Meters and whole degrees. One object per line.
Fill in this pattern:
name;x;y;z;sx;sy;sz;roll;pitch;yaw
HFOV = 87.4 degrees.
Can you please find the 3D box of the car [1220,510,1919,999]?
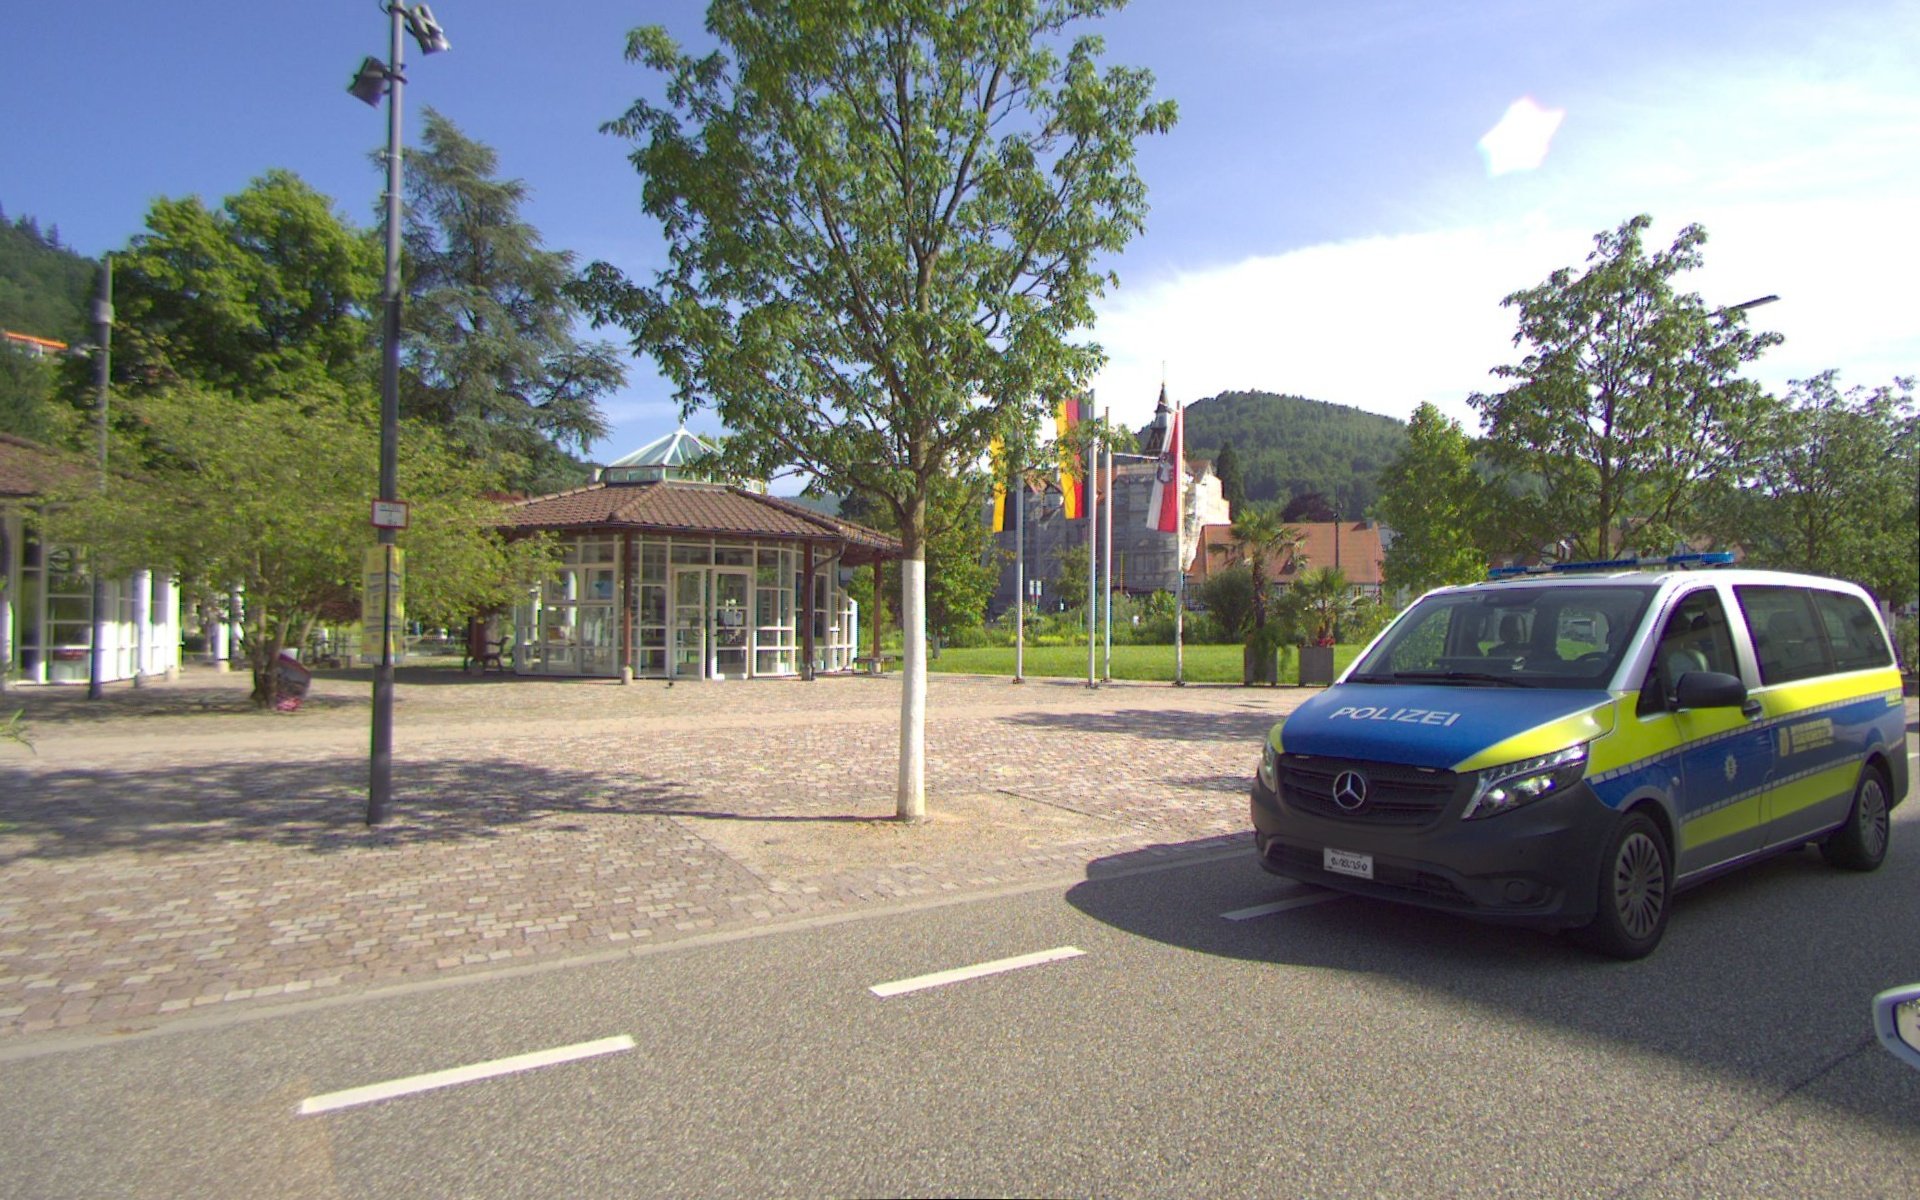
car;4.035;0.719;6.246;4.965;1.978;1.844;2;-3;-34
